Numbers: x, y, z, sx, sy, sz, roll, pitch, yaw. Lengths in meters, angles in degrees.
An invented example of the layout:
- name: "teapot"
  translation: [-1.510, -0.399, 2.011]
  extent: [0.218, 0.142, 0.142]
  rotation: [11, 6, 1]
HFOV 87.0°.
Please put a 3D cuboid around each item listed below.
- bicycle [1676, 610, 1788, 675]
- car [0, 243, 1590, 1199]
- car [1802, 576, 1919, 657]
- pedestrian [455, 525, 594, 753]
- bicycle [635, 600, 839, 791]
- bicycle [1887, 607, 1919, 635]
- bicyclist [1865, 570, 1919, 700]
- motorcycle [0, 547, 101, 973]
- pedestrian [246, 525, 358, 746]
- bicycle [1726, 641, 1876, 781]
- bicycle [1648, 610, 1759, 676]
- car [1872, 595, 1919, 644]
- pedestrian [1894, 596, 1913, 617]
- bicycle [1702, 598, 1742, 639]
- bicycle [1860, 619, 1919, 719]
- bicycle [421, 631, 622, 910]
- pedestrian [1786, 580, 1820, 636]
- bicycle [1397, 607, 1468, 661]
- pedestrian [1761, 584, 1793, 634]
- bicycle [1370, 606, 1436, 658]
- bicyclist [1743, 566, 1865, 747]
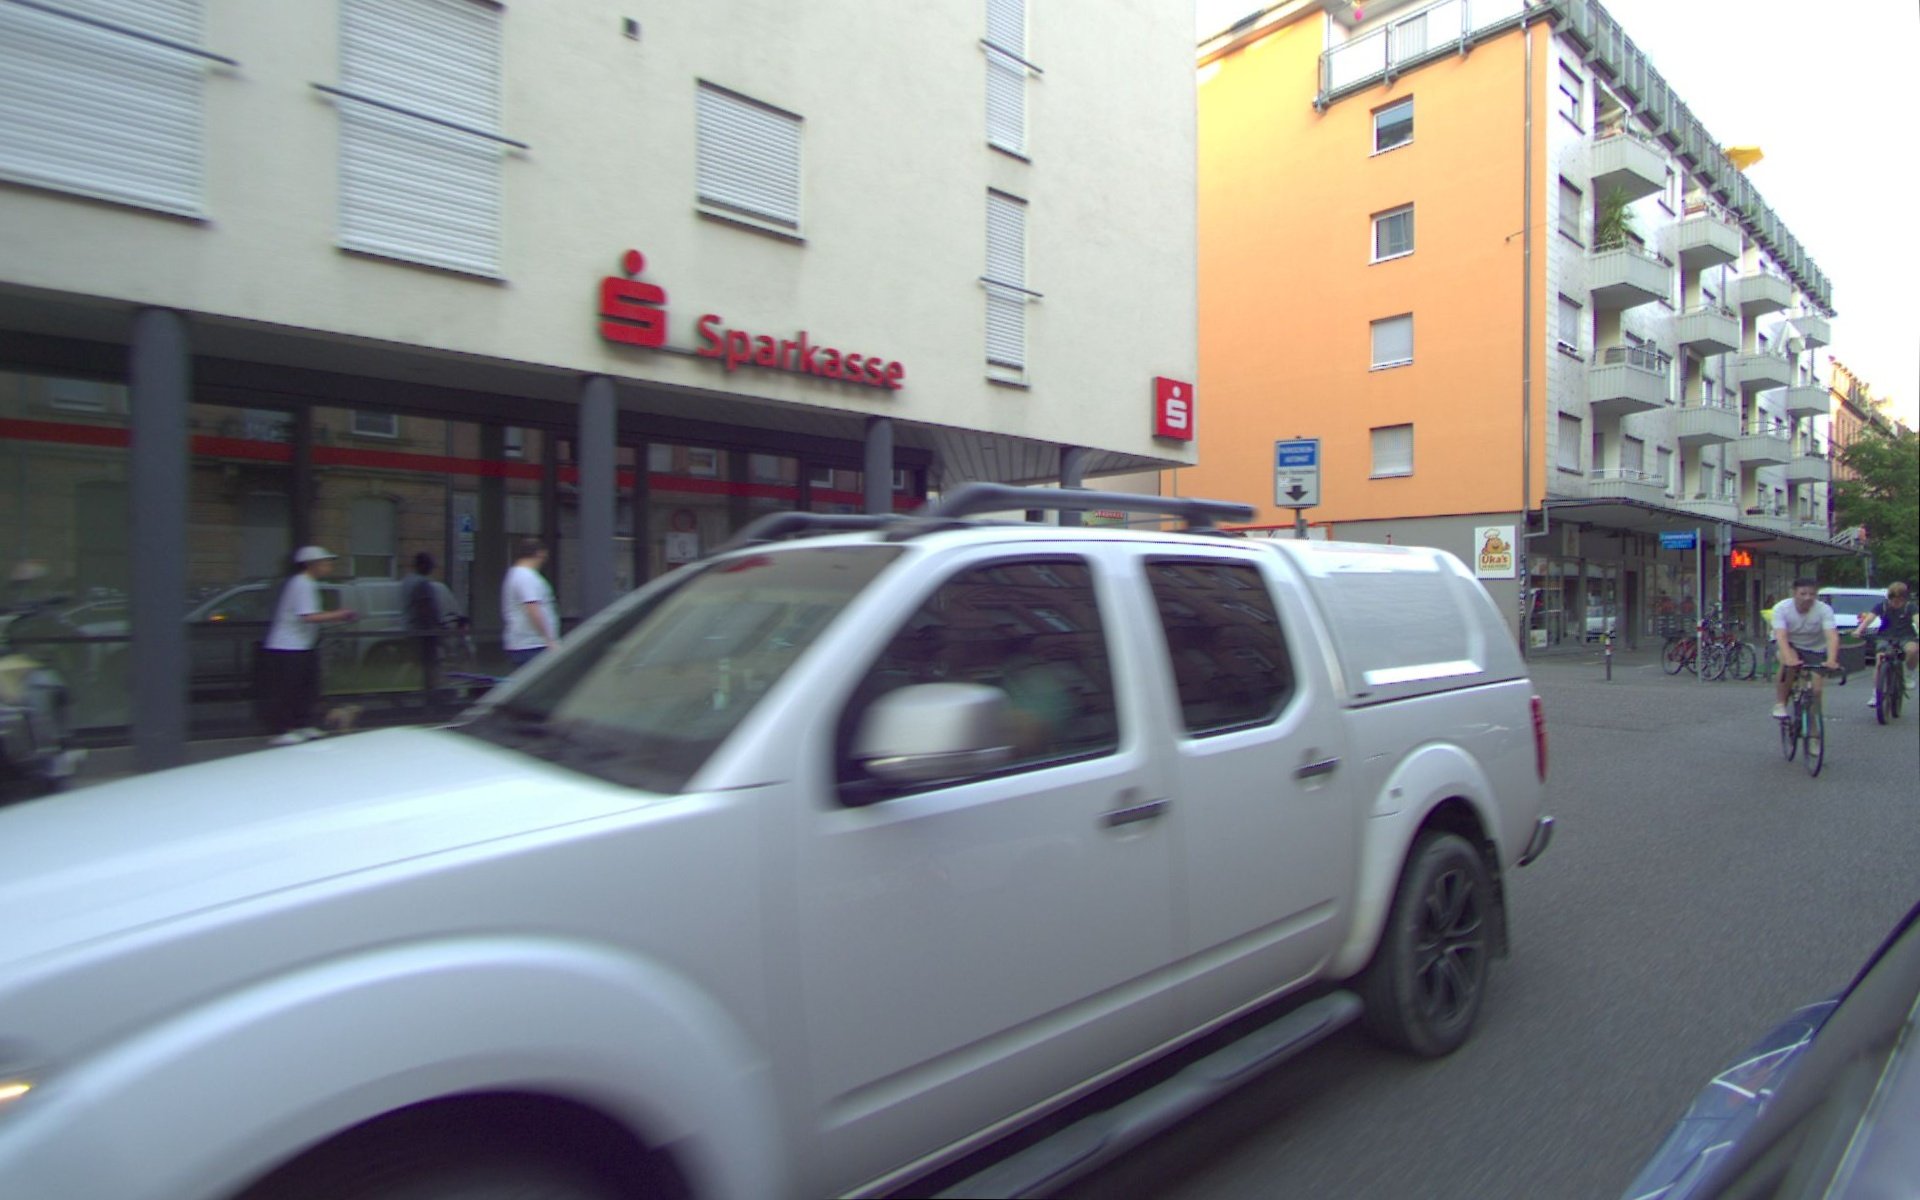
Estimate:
- name: "bicycle"
  translation: [15.593, 0.828, 20.506]
  extent: [0.644, 1.148, 1.947]
  rotation: [1, 2, -4]
- name: "car"
  translation: [-0.013, 0.548, 3.167]
  extent: [5.178, 1.876, 1.914]
  rotation: [-1, 0, -41]
- name: "car"
  translation: [25.000, 0.402, 27.861]
  extent: [4.914, 1.998, 1.963]
  rotation: [0, 2, -41]
- name: "pedestrian"
  translation: [-3.587, 0.298, 8.316]
  extent: [0.895, 1.745, 0.777]
  rotation: [2, 1, -30]
- name: "bicycle"
  translation: [-1.647, 0.610, 7.270]
  extent: [0.643, 1.131, 1.724]
  rotation: [-1, 3, -43]
- name: "bicycle"
  translation: [36.181, 0.807, 38.309]
  extent: [0.501, 1.014, 1.484]
  rotation: [-1, 2, -34]
- name: "bicyclist"
  translation: [11.927, 0.431, 12.680]
  extent: [0.812, 1.592, 0.792]
  rotation: [1, -2, -43]
- name: "motorcycle"
  translation: [-4.524, 0.552, 4.584]
  extent: [0.809, 1.568, 2.499]
  rotation: [-1, 3, -37]
- name: "pedestrian"
  translation: [-5.507, 0.280, 8.469]
  extent: [0.651, 1.745, 0.664]
  rotation: [2, 0, -41]
- name: "bicycle"
  translation: [7.567, 0.937, 9.077]
  extent: [1.883, 1.031, 0.658]
  rotation: [-1, 0, -39]
- name: "bicycle"
  translation: [14.717, 0.821, 20.113]
  extent: [0.644, 1.148, 1.947]
  rotation: [1, 2, -4]
- name: "car"
  translation: [31.734, 0.616, 33.805]
  extent: [3.366, 1.519, 1.594]
  rotation: [0, 2, -43]
- name: "pedestrian"
  translation: [59.698, 0.419, 64.029]
  extent: [0.715, 1.322, 0.743]
  rotation: [0, 0, 30]
- name: "bicycle"
  translation: [24.208, 0.569, 32.182]
  extent: [0.907, 1.210, 1.689]
  rotation: [3, 3, 36]
- name: "bicycle"
  translation: [11.925, 0.825, 12.667]
  extent: [2.304, 1.154, 0.792]
  rotation: [1, -2, -44]
- name: "bicycle"
  translation: [-2.345, 0.773, 5.281]
  extent: [0.554, 1.034, 1.778]
  rotation: [-1, 4, -37]
- name: "pedestrian"
  translation: [28.553, 0.266, 34.277]
  extent: [0.846, 1.851, 0.710]
  rotation: [-1, 2, -41]
- name: "bicycle"
  translation: [10.466, 0.728, 22.380]
  extent: [1.927, 1.080, 0.564]
  rotation: [-2, 2, -36]
- name: "pedestrian"
  translation: [28.205, 0.286, 34.941]
  extent: [0.732, 1.686, 0.710]
  rotation: [-1, 2, -41]
- name: "bicycle"
  translation: [10.020, 0.703, 22.871]
  extent: [1.724, 1.080, 0.564]
  rotation: [-2, 2, -36]
- name: "bicyclist"
  translation: [7.577, 0.469, 9.084]
  extent: [0.936, 1.528, 0.650]
  rotation: [-1, 0, -38]
